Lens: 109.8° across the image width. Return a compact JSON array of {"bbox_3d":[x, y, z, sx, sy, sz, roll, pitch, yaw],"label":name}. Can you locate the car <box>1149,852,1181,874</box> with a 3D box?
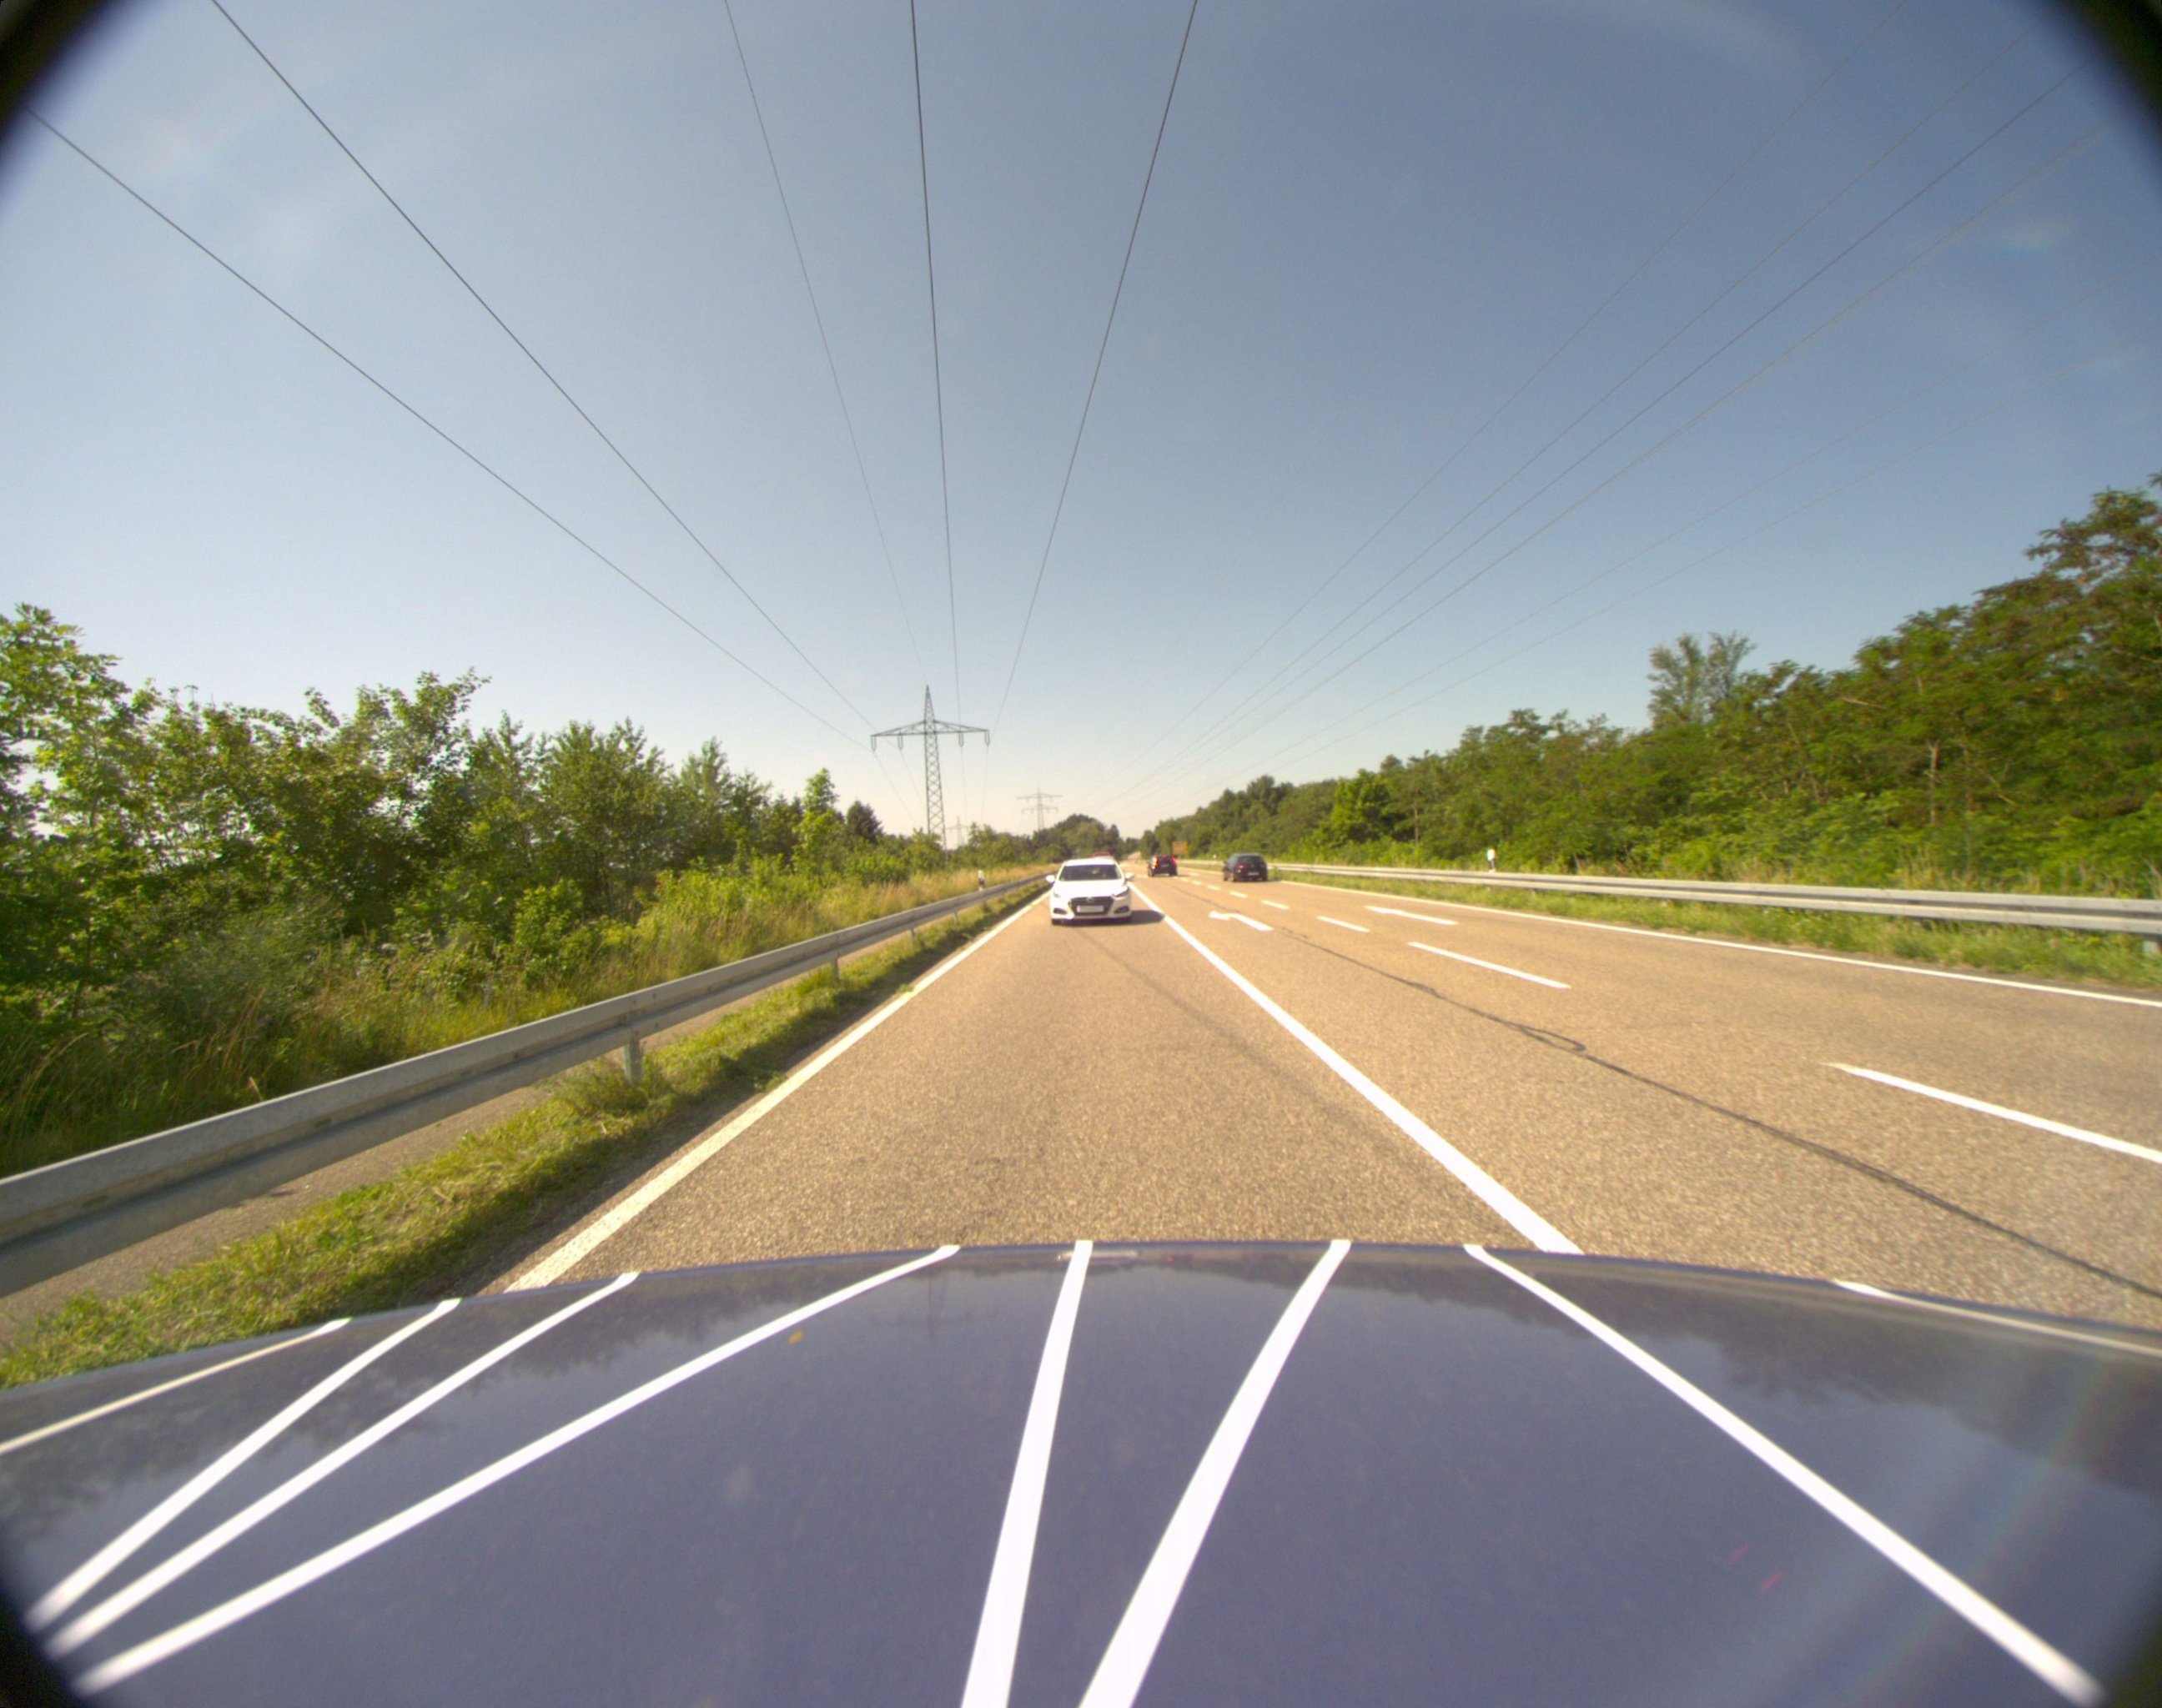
[{"bbox_3d":[5.926,0.603,53.864,1.732,1.482,4.422,-2,0,0],"label":"car"}]

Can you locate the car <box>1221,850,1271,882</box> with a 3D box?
[{"bbox_3d":[8.320,0.567,38.600,1.664,1.433,4.214,-2,0,1],"label":"car"}]

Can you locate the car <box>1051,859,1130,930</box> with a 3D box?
[{"bbox_3d":[0.245,0.885,18.632,1.683,1.471,4.473,-1,0,1],"label":"car"}]

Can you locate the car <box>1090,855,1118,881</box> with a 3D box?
[{"bbox_3d":[1.350,0.824,45.623,1.549,1.460,3.661,-2,0,0],"label":"car"}]

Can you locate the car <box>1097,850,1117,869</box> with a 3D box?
[{"bbox_3d":[2.665,0.541,78.773,1.794,1.892,4.838,-2,0,0],"label":"car"}]
